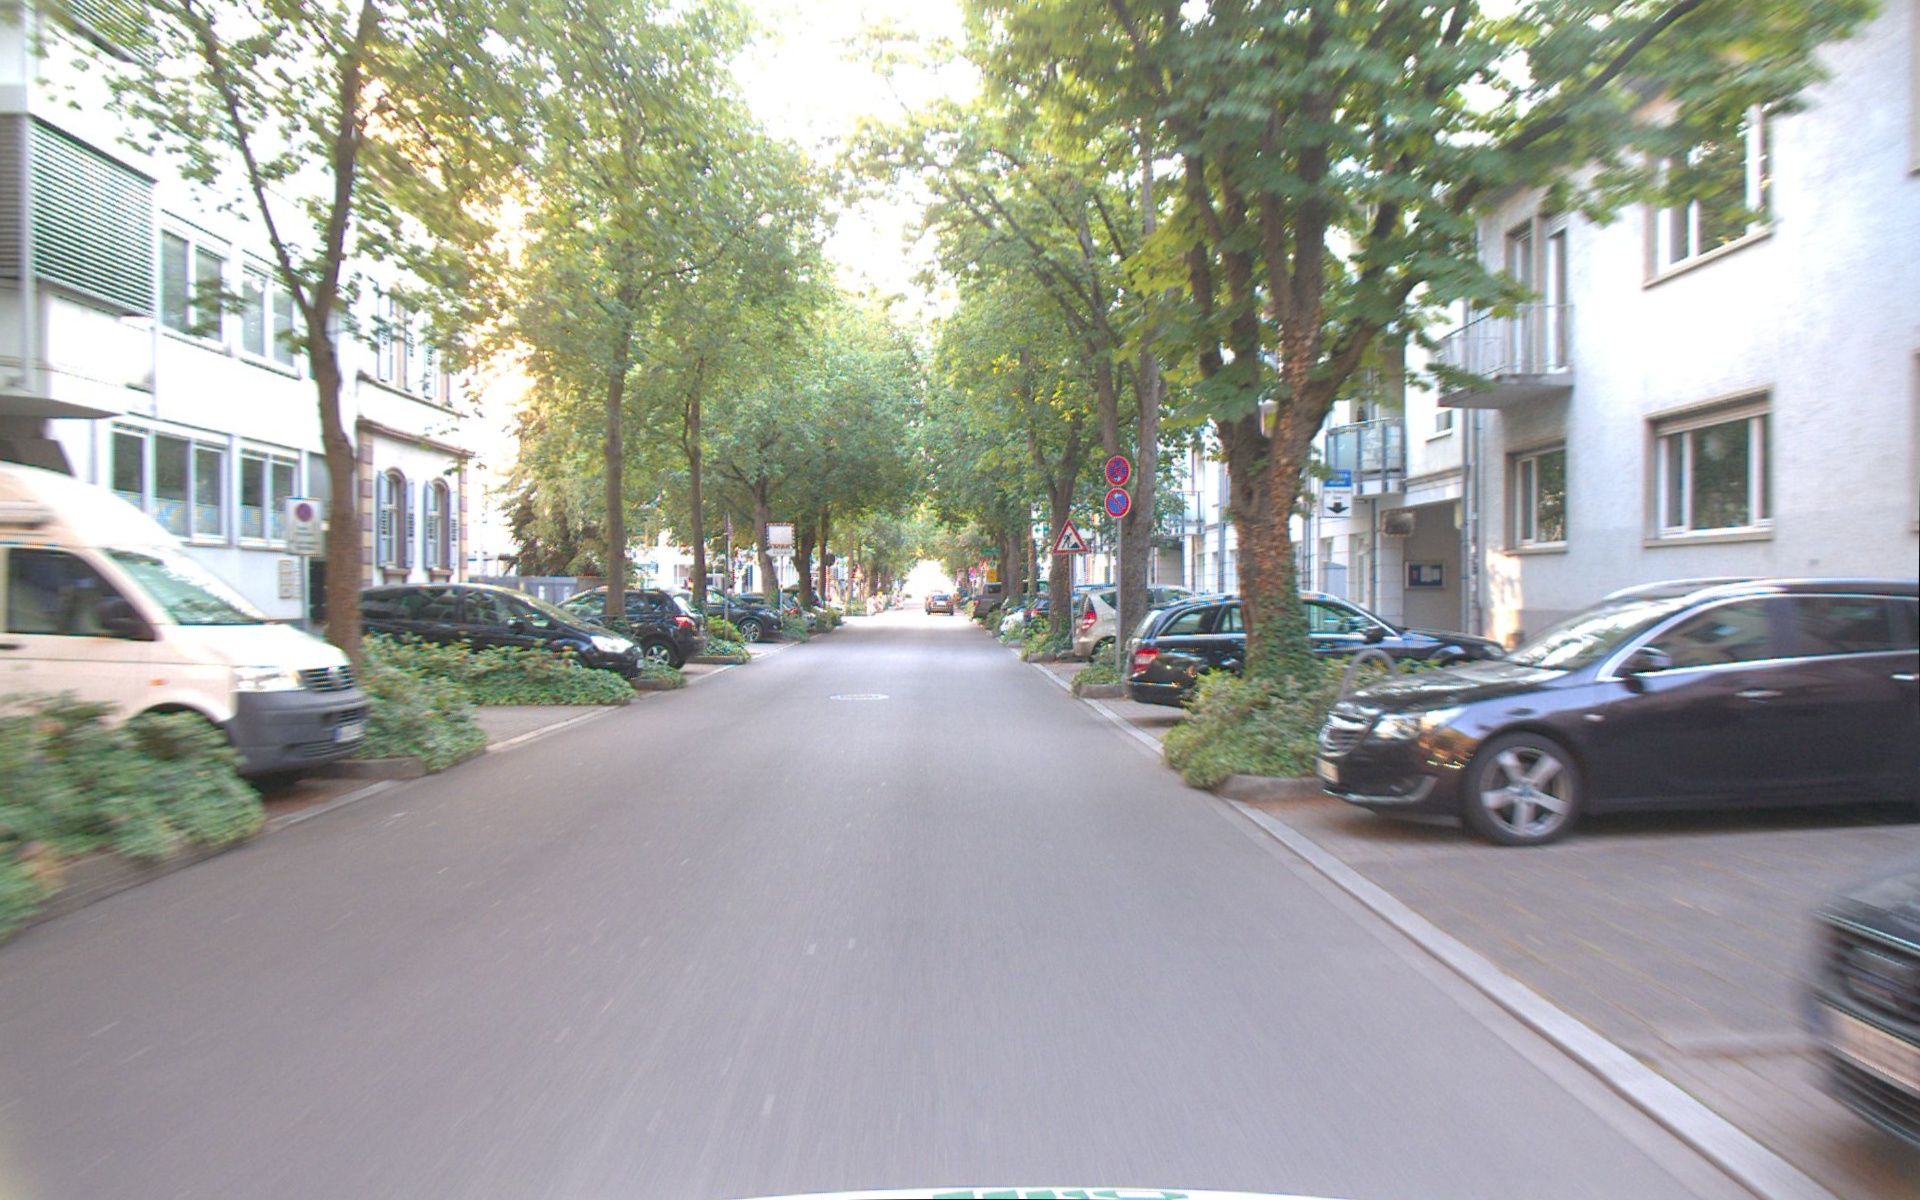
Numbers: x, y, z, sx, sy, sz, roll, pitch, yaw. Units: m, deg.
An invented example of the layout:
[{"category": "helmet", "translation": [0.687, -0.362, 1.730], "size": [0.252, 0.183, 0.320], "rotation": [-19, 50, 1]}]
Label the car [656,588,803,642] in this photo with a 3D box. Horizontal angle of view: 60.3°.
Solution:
[{"category": "car", "translation": [-7.750, 0.500, 55.848], "size": [4.666, 1.658, 1.962], "rotation": [-2, 0, -1]}]

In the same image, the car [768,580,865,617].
[{"category": "car", "translation": [-7.161, -0.084, 82.871], "size": [4.666, 1.658, 1.962], "rotation": [-2, 0, -1]}]

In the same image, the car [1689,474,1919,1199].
[{"category": "car", "translation": [4.502, 0.591, 3.995], "size": [4.620, 1.740, 1.950], "rotation": [0, 1, 0]}]

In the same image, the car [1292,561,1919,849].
[{"category": "car", "translation": [4.608, 0.572, 10.454], "size": [4.587, 1.548, 1.962], "rotation": [-2, 0, -1]}]

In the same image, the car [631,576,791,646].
[{"category": "car", "translation": [-7.713, 0.329, 51.528], "size": [4.666, 2.019, 1.962], "rotation": [-2, 0, -1]}]

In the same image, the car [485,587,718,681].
[{"category": "car", "translation": [-6.947, 0.648, 32.396], "size": [4.118, 1.664, 1.962], "rotation": [-2, 0, -1]}]

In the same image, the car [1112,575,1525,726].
[{"category": "car", "translation": [4.063, 0.559, 19.354], "size": [4.414, 1.548, 1.996], "rotation": [-2, 0, 2]}]

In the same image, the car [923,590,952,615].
[{"category": "car", "translation": [-1.521, 0.172, 111.665], "size": [1.917, 1.593, 4.282], "rotation": [-2, 0, -1]}]

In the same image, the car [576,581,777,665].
[{"category": "car", "translation": [-6.816, 0.540, 40.092], "size": [4.502, 1.839, 1.962], "rotation": [-2, 0, -1]}]

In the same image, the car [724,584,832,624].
[{"category": "car", "translation": [-8.197, 0.165, 74.926], "size": [4.666, 1.658, 1.962], "rotation": [-2, 0, -1]}]

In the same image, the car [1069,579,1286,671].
[{"category": "car", "translation": [4.205, 0.474, 32.469], "size": [3.968, 1.625, 1.824], "rotation": [-2, 0, -1]}]

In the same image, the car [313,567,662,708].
[{"category": "car", "translation": [-6.939, 0.528, 24.672], "size": [4.587, 1.886, 1.962], "rotation": [-2, 0, -1]}]

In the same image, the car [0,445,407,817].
[{"category": "car", "translation": [-6.719, 0.203, 12.210], "size": [4.587, 2.521, 2.000], "rotation": [0, 0, -1]}]

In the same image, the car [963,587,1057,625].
[{"category": "car", "translation": [2.277, 0.287, 75.706], "size": [4.182, 1.593, 1.962], "rotation": [-2, 0, -1]}]

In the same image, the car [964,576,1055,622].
[{"category": "car", "translation": [2.304, -0.050, 78.262], "size": [4.182, 1.996, 1.962], "rotation": [-2, 0, -1]}]

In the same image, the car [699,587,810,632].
[{"category": "car", "translation": [-7.658, 0.353, 61.829], "size": [3.906, 1.536, 1.800], "rotation": [-2, 0, -1]}]

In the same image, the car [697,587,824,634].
[{"category": "car", "translation": [-7.722, 0.389, 64.304], "size": [4.666, 1.658, 1.962], "rotation": [-2, 0, -1]}]

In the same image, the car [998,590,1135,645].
[{"category": "car", "translation": [3.343, 0.536, 52.472], "size": [4.182, 1.593, 1.962], "rotation": [-2, 0, -1]}]
